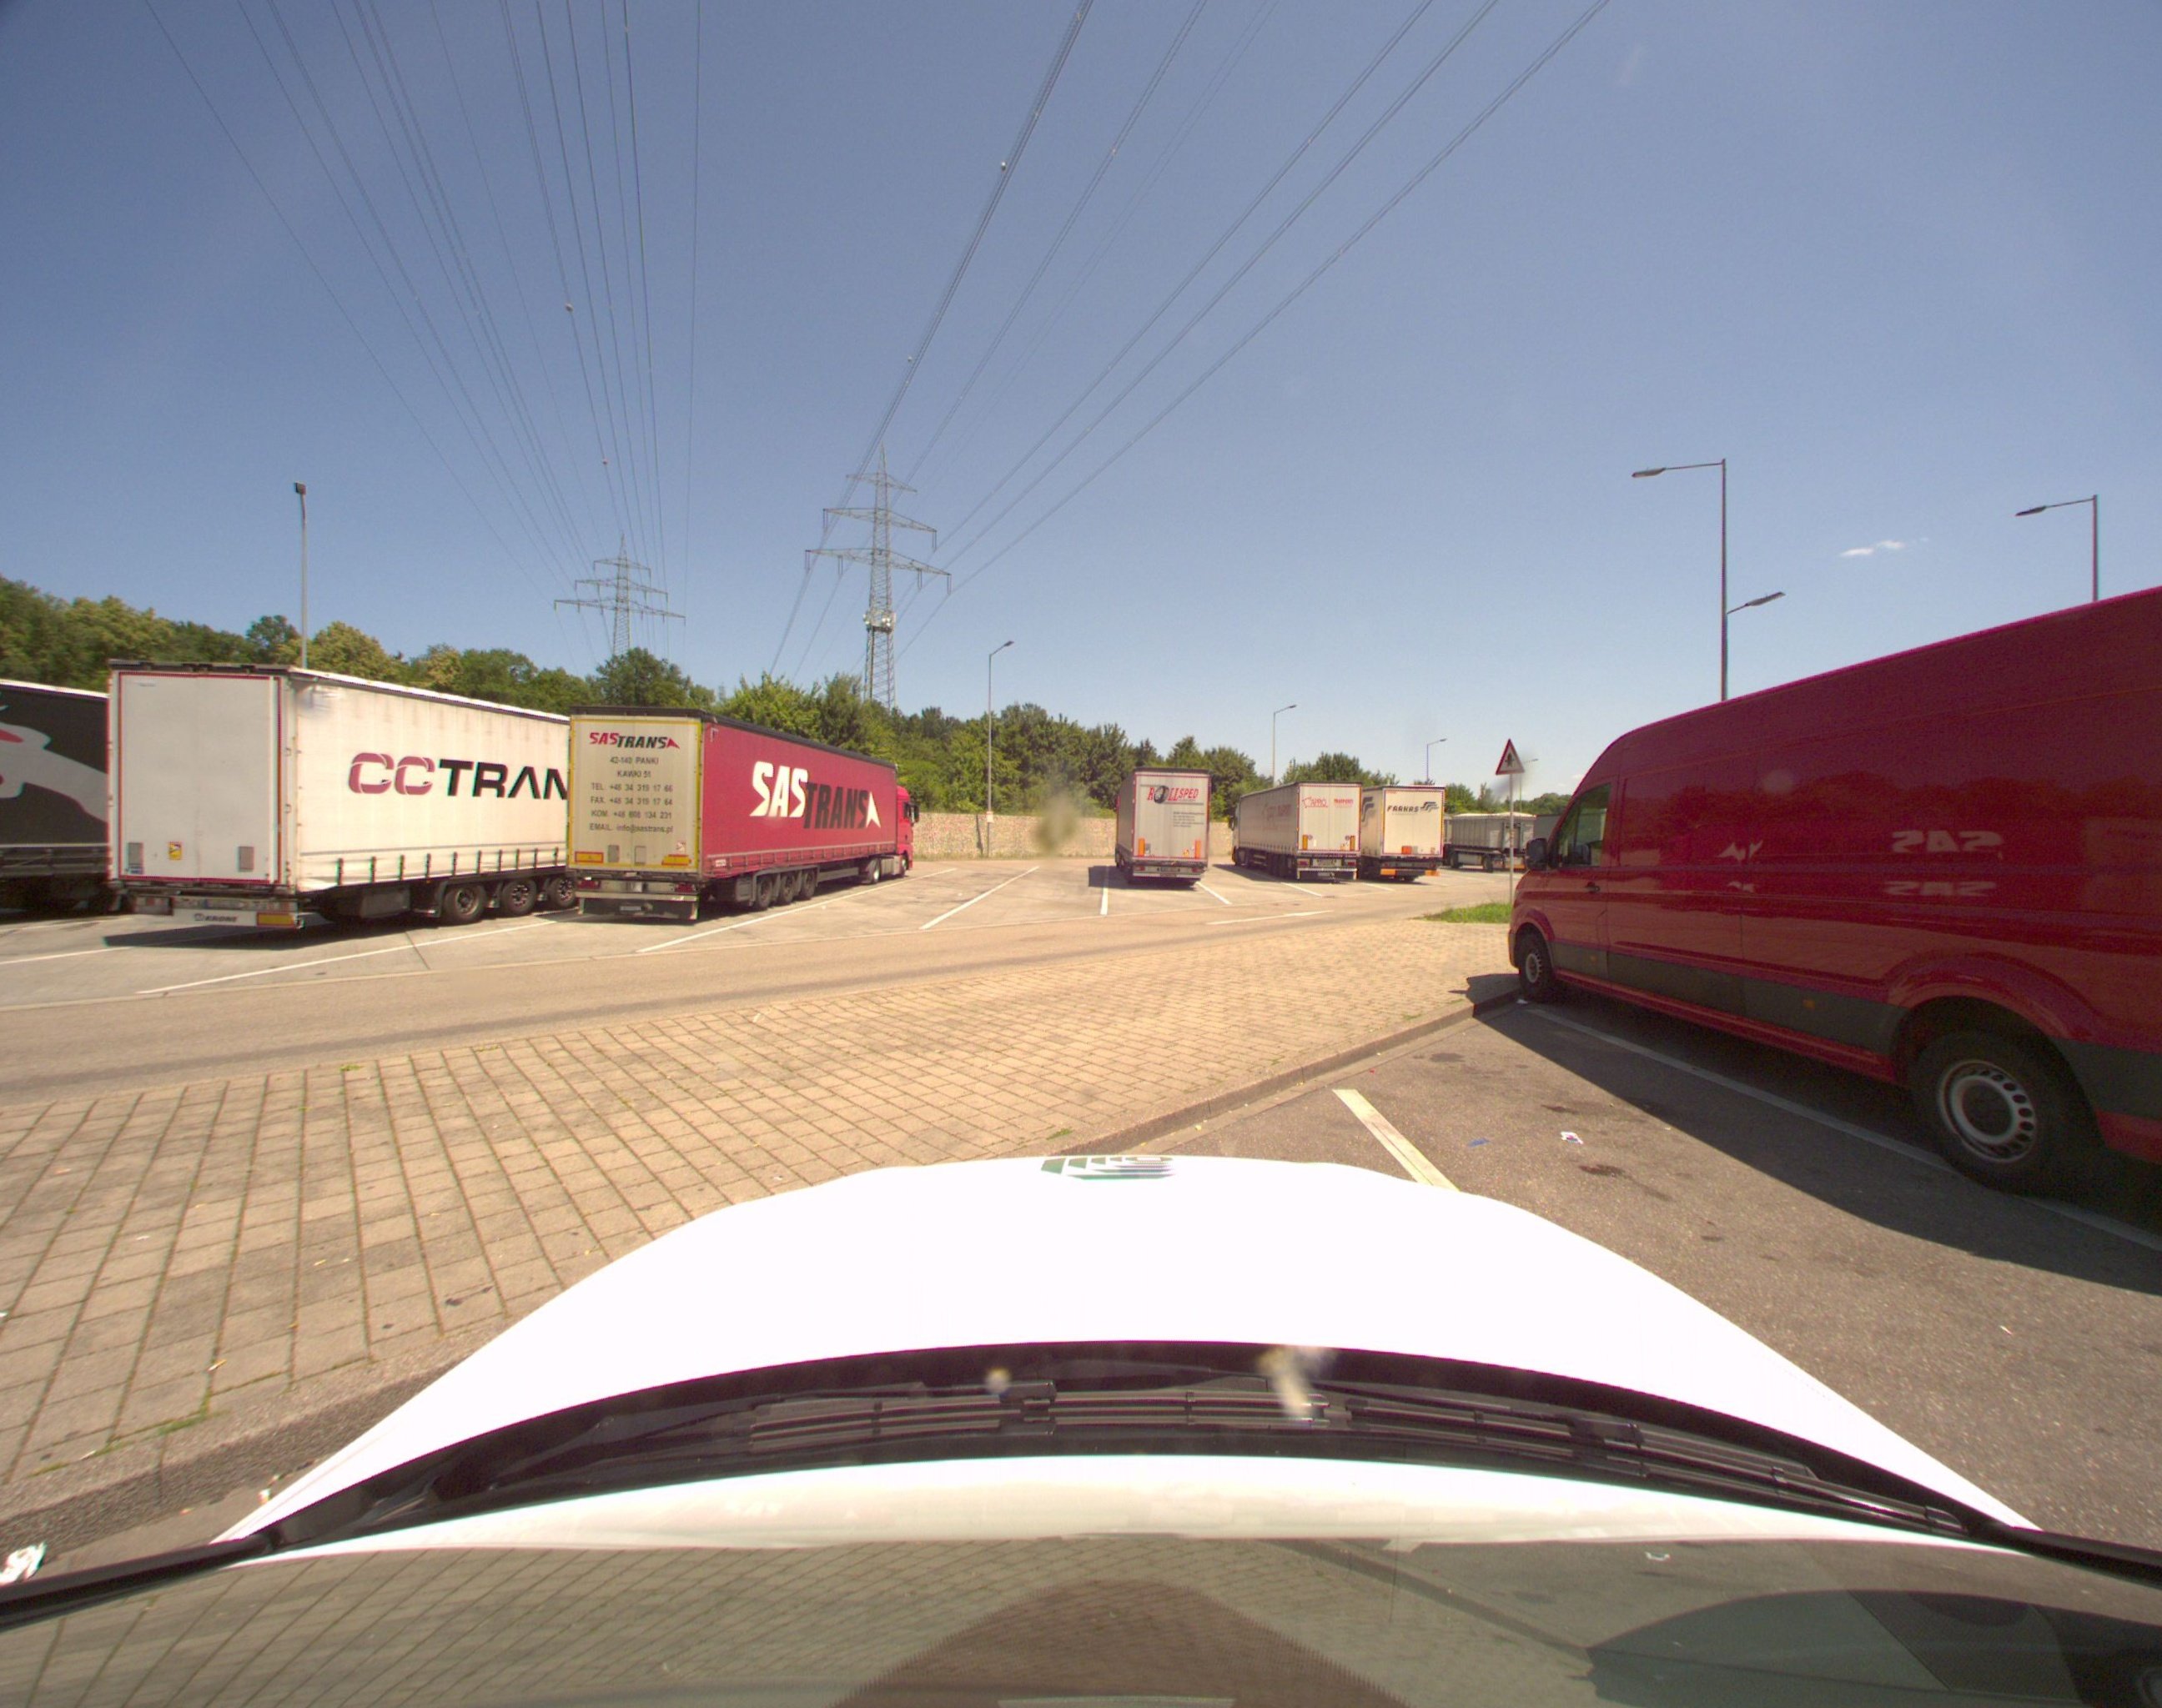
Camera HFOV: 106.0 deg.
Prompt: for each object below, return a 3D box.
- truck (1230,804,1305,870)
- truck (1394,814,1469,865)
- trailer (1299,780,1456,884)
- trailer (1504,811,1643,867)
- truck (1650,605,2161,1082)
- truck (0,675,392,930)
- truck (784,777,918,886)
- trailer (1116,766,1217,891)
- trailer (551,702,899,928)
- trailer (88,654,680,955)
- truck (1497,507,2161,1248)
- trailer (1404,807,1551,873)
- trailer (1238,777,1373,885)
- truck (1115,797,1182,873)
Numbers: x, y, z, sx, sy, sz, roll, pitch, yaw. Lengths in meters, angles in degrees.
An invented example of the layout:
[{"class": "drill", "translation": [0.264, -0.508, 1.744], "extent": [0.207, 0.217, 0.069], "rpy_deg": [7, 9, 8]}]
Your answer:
[{"class": "truck", "translation": [10.182, -0.971, 45.057], "extent": [2.855, 3.362, 5.977], "rpy_deg": [1, 2, 2]}, {"class": "truck", "translation": [24.632, -1.073, 57.587], "extent": [2.855, 3.362, 5.977], "rpy_deg": [1, 2, 2]}, {"class": "trailer", "translation": [13.611, -1.088, 39.217], "extent": [2.847, 4.109, 13.770], "rpy_deg": [1, 2, 2]}, {"class": "trailer", "translation": [38.227, -1.287, 64.170], "extent": [2.847, 3.904, 13.770], "rpy_deg": [1, 2, 2]}, {"class": "truck", "translation": [8.000, -0.070, 6.879], "extent": [2.406, 2.906, 6.466], "rpy_deg": [-1, 0, 6]}, {"class": "truck", "translation": [-18.549, -0.936, 15.827], "extent": [2.696, 4.070, 8.694], "rpy_deg": [1, 2, 2]}, {"class": "truck", "translation": [-7.831, -0.790, 28.539], "extent": [2.801, 3.362, 5.977], "rpy_deg": [1, 2, 2]}, {"class": "trailer", "translation": [3.050, -1.043, 33.203], "extent": [2.848, 3.971, 13.767], "rpy_deg": [1, 2, 1]}, {"class": "trailer", "translation": [-8.046, -0.924, 21.722], "extent": [2.811, 4.070, 13.770], "rpy_deg": [1, 2, 2]}, {"class": "trailer", "translation": [-12.161, -0.839, 16.418], "extent": [2.696, 4.101, 10.395], "rpy_deg": [1, 2, 2]}, {"class": "truck", "translation": [5.141, 0.081, 5.446], "extent": [2.001, 2.651, 6.466], "rpy_deg": [-1, 0, 6]}, {"class": "trailer", "translation": [24.445, -0.987, 51.490], "extent": [2.847, 3.599, 13.770], "rpy_deg": [1, 2, 2]}, {"class": "trailer", "translation": [9.983, -1.114, 38.293], "extent": [2.847, 4.109, 13.770], "rpy_deg": [1, 2, 2]}, {"class": "truck", "translation": [3.142, -0.933, 39.405], "extent": [2.855, 3.362, 5.977], "rpy_deg": [1, 2, 2]}]
